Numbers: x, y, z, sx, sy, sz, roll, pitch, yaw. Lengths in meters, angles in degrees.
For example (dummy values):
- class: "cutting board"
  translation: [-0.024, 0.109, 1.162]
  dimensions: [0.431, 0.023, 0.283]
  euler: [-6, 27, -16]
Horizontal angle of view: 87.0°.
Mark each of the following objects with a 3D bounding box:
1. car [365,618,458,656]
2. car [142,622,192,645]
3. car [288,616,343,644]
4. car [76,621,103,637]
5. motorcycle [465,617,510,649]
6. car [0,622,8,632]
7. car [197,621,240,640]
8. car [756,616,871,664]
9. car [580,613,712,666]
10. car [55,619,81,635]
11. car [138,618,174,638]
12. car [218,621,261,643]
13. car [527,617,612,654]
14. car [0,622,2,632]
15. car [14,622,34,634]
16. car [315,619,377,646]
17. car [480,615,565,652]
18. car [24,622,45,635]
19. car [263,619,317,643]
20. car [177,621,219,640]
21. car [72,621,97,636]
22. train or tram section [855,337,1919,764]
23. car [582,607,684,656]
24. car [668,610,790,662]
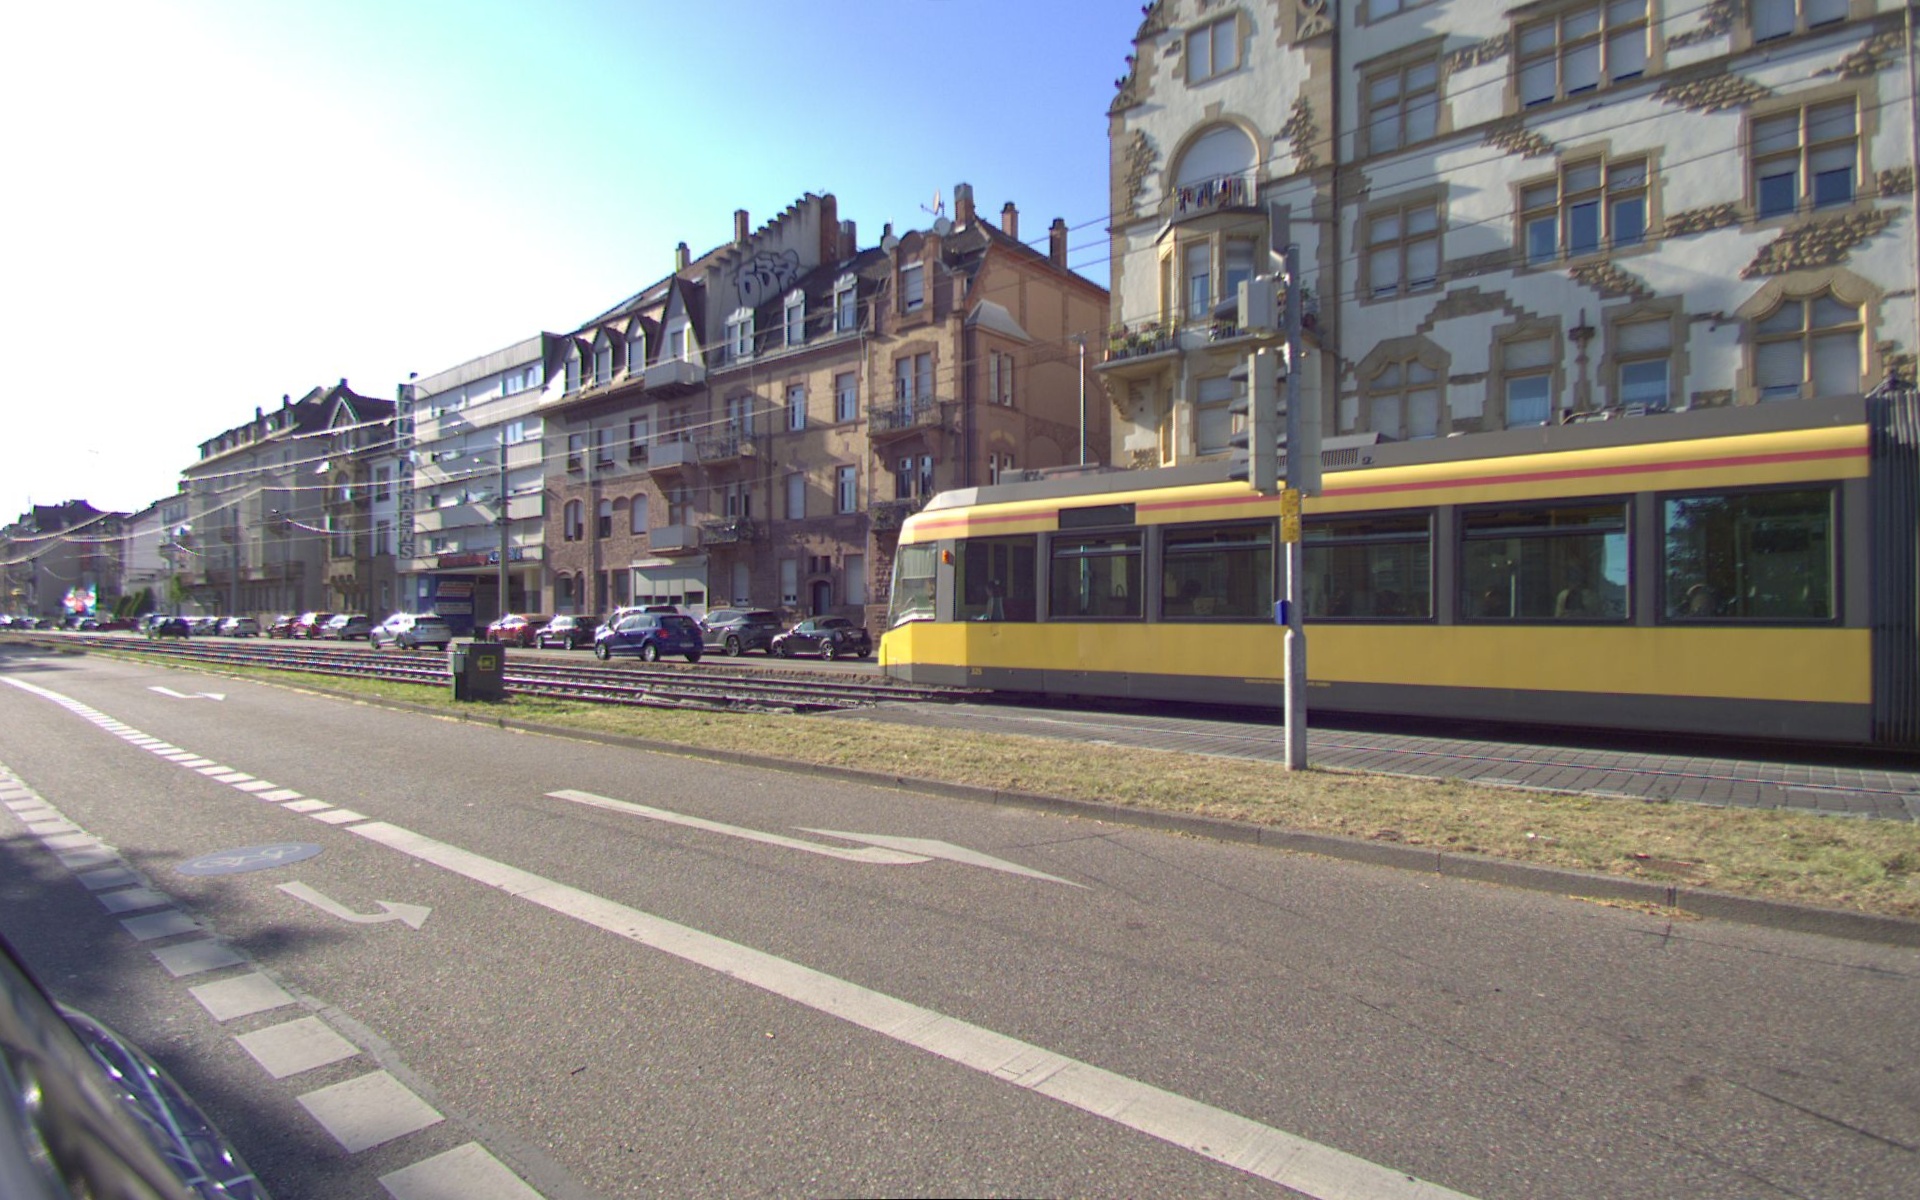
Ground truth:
- class: "car"
  translation: [-22.493, 1.467, 41.417]
  dimensions: [4.536, 1.468, 1.802]
  euler: [-1, -2, 40]
- class: "car"
  translation: [-53.300, 2.214, 68.005]
  dimensions: [4.162, 1.468, 1.802]
  euler: [-1, -2, 40]
- class: "car"
  translation: [-41.368, 1.922, 64.944]
  dimensions: [4.261, 1.700, 1.837]
  euler: [-1, 0, 41]
- class: "car"
  translation: [-94.442, 3.162, 109.777]
  dimensions: [3.406, 1.644, 1.656]
  euler: [-1, 0, 41]
- class: "motorcycle"
  translation: [-22.918, 1.596, 49.149]
  dimensions: [0.628, 1.432, 1.836]
  euler: [-2, 0, 40]
- class: "car"
  translation: [-151.076, 4.272, 159.113]
  dimensions: [3.448, 1.602, 1.603]
  euler: [-1, 0, 40]
- class: "car"
  translation: [-58.295, 2.389, 79.509]
  dimensions: [3.818, 1.441, 1.780]
  euler: [-1, 0, 39]
- class: "car"
  translation: [-4.801, 1.271, 32.916]
  dimensions: [3.722, 1.364, 1.606]
  euler: [-1, 2, 40]
- class: "car"
  translation: [-9.407, 1.145, 30.188]
  dimensions: [4.152, 1.468, 1.802]
  euler: [-1, -2, 39]
- class: "car"
  translation: [-105.880, 3.173, 120.134]
  dimensions: [3.878, 1.800, 1.705]
  euler: [-1, 0, 40]
- class: "car"
  translation: [-73.905, 2.583, 93.000]
  dimensions: [3.913, 1.750, 1.852]
  euler: [-1, 0, 41]
- class: "car"
  translation: [-54.221, 2.395, 76.138]
  dimensions: [3.821, 1.490, 1.779]
  euler: [-1, 0, 41]
- class: "car"
  translation: [-16.738, 1.498, 43.308]
  dimensions: [3.924, 1.448, 1.678]
  euler: [-1, 2, 40]
- class: "car"
  translation: [-154.853, 4.361, 162.161]
  dimensions: [3.448, 1.602, 1.603]
  euler: [-1, 0, 40]
- class: "car"
  translation: [-128.647, 3.882, 139.038]
  dimensions: [3.448, 1.602, 1.603]
  euler: [-1, 0, 40]
- class: "car"
  translation: [-37.264, 1.931, 61.397]
  dimensions: [4.377, 1.510, 1.838]
  euler: [-1, 0, 40]
- class: "car"
  translation: [-20.172, 1.518, 46.560]
  dimensions: [4.206, 1.510, 1.838]
  euler: [-1, 2, 40]
- class: "car"
  translation: [-121.880, 3.744, 133.237]
  dimensions: [3.448, 1.602, 1.603]
  euler: [-1, 0, 40]
- class: "car"
  translation: [-45.204, 2.061, 68.292]
  dimensions: [3.721, 1.507, 1.737]
  euler: [-2, 0, 35]
- class: "car"
  translation: [-61.685, 2.471, 81.919]
  dimensions: [3.529, 1.457, 1.624]
  euler: [-1, 0, 33]
- class: "car"
  translation: [-98.247, 3.189, 113.561]
  dimensions: [3.386, 1.583, 1.663]
  euler: [-1, 0, 40]
- class: "train or tram section"
  translation: [4.189, -0.295, 13.341]
  dimensions: [13.194, 3.516, 2.784]
  euler: [-1, -1, 41]
- class: "car"
  translation: [-12.969, 1.220, 40.010]
  dimensions: [4.417, 1.772, 1.865]
  euler: [-1, 2, 43]
- class: "car"
  translation: [-8.263, 1.247, 36.057]
  dimensions: [4.498, 1.635, 1.838]
  euler: [-1, 2, 40]
